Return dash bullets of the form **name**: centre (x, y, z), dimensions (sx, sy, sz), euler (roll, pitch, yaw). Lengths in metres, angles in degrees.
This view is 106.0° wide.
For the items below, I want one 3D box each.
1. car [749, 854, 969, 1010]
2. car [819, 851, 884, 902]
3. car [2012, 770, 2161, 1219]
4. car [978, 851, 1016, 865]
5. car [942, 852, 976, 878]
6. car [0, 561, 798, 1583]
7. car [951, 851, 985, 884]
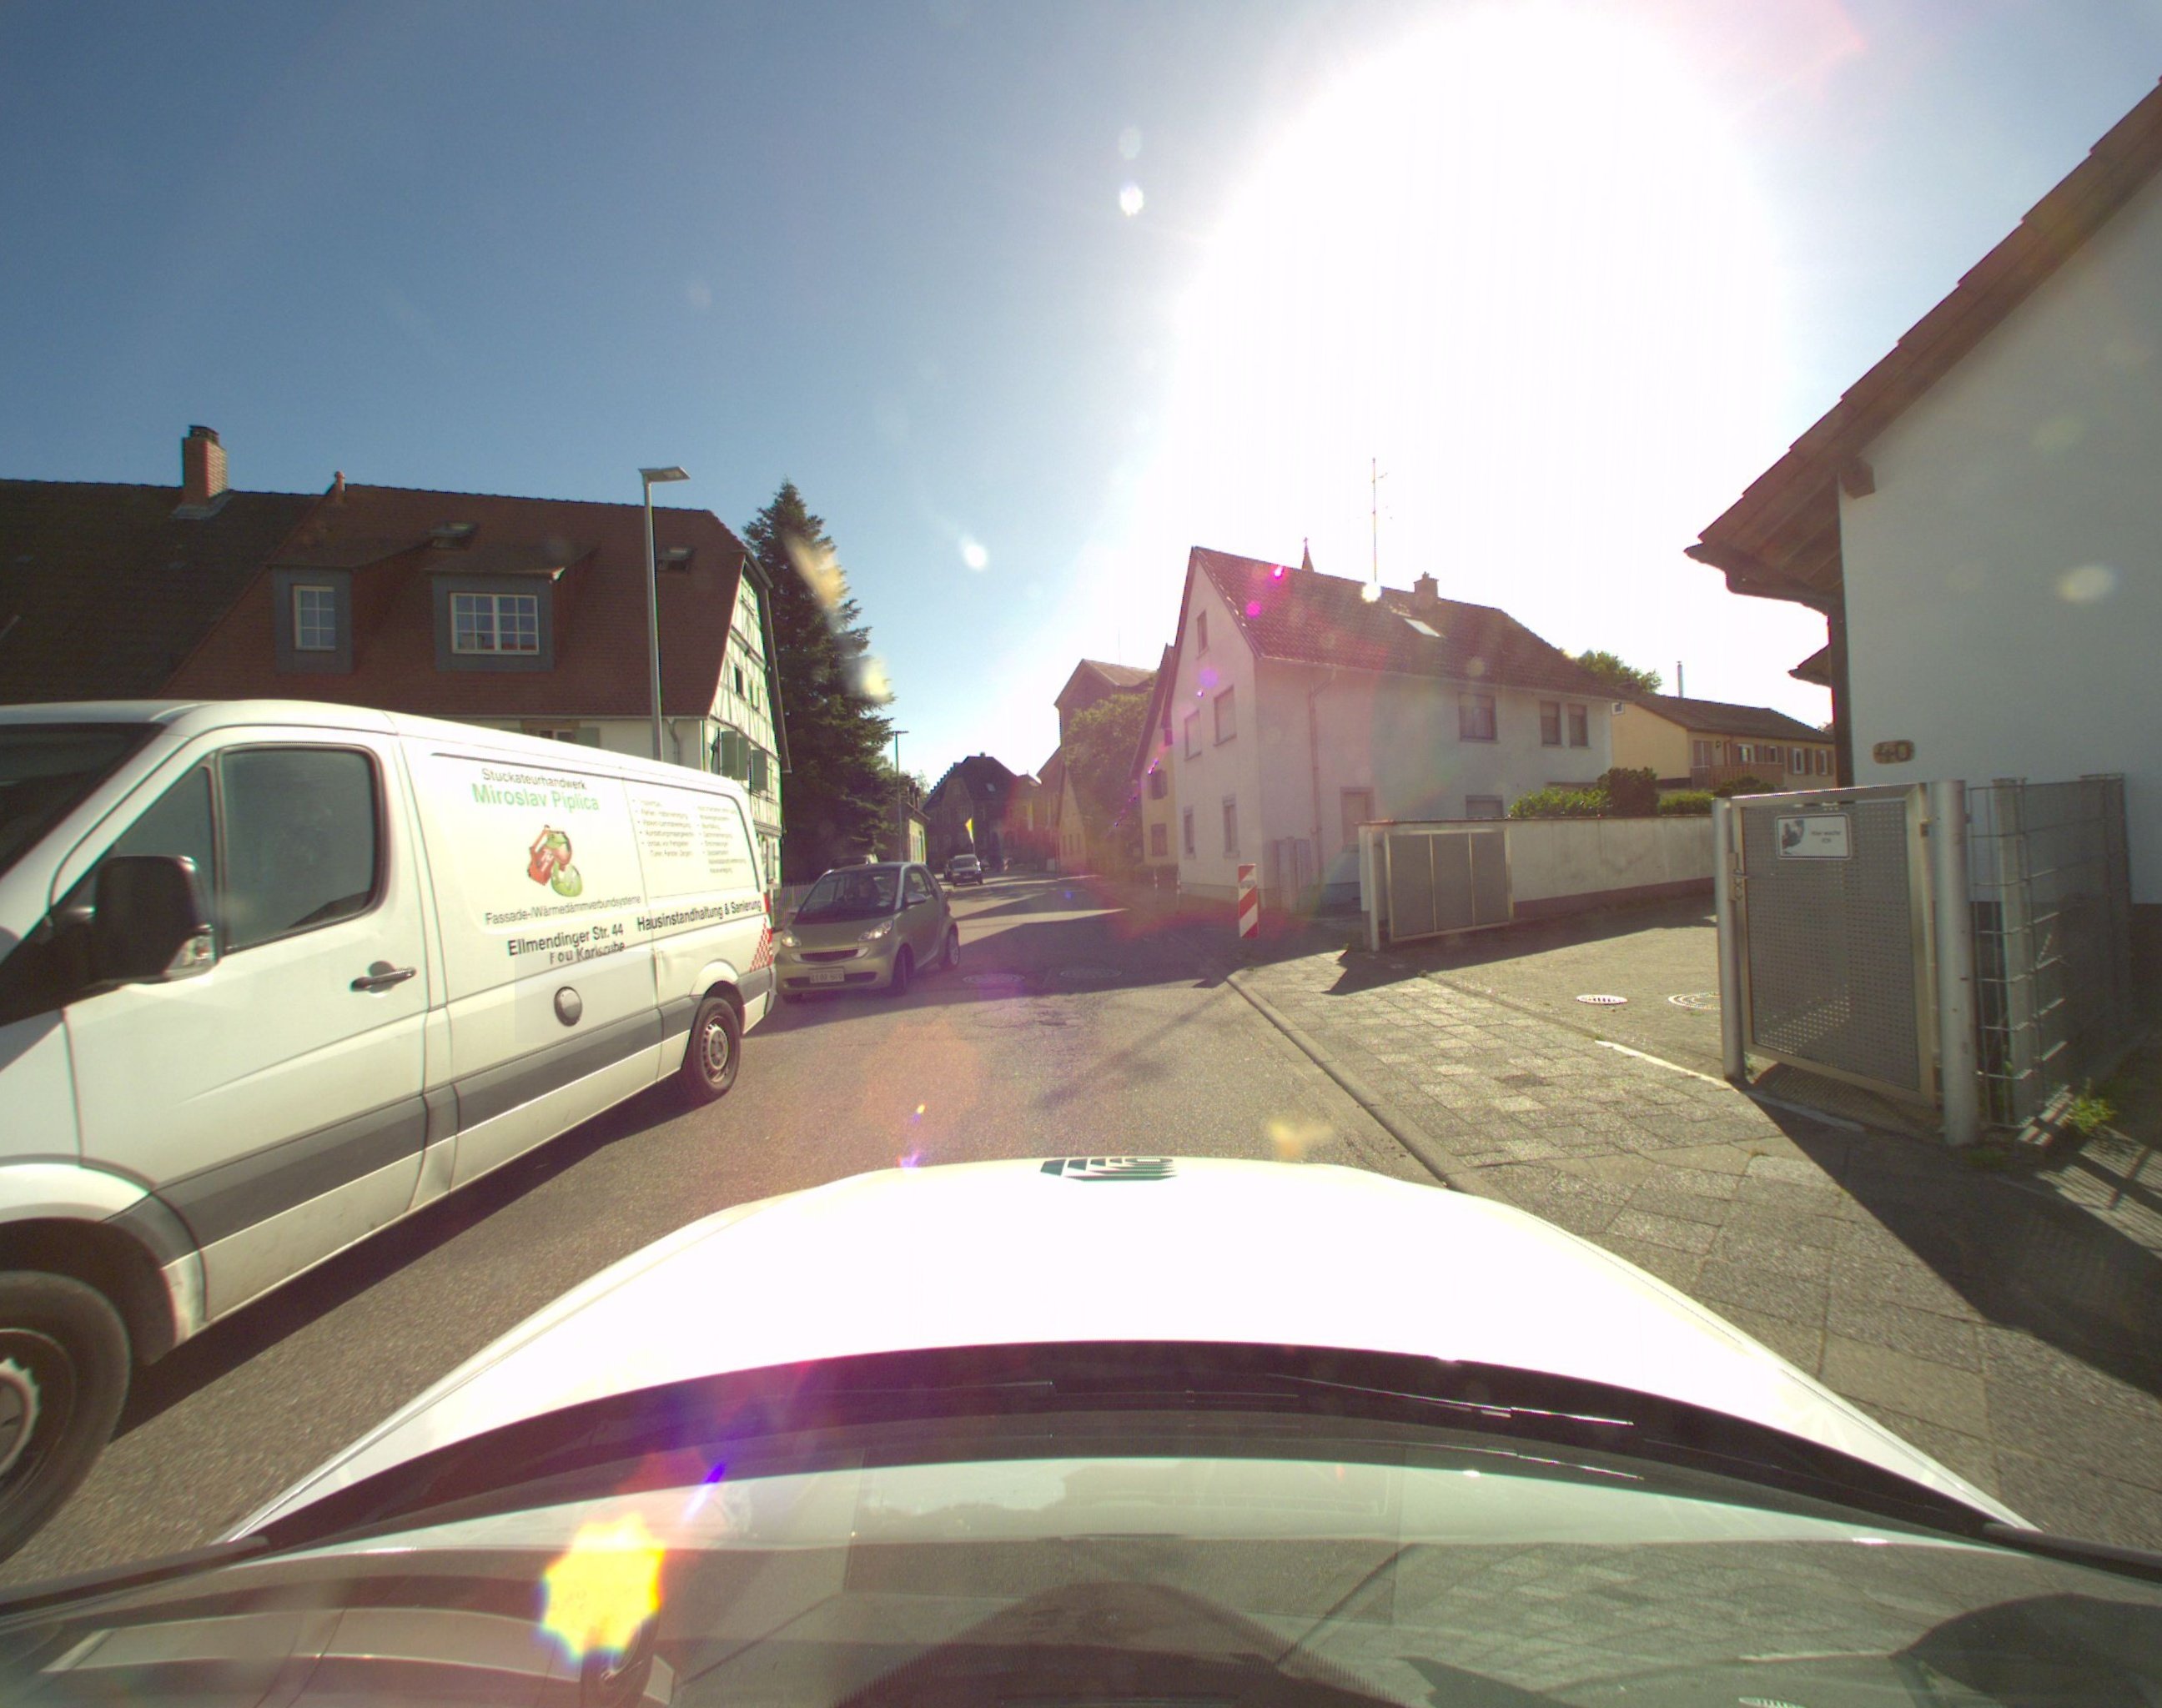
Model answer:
- **car**: centre (-2.640, 0.865, 10.383), dimensions (1.565, 1.546, 2.972), euler (-4, 0, 7)
- **car**: centre (-10.031, 0.898, 35.977), dimensions (1.939, 1.955, 5.128), euler (-3, 1, -8)
- **car**: centre (5.375, 0.356, 1.892), dimensions (3.888, 1.492, 1.852), euler (-4, 0, 10)
- **car**: centre (-10.002, 0.462, 96.973), dimensions (4.269, 1.400, 1.698), euler (-3, 0, -39)
- **car**: centre (-9.186, 0.818, 61.139), dimensions (1.831, 1.732, 4.177), euler (-5, 1, -17)
- **car**: centre (-3.599, 0.550, 3.662), dimensions (2.189, 2.389, 6.067), euler (-5, 0, 2)
- **car**: centre (-6.940, 0.783, 49.769), dimensions (1.826, 1.814, 4.188), euler (-5, 1, -9)
